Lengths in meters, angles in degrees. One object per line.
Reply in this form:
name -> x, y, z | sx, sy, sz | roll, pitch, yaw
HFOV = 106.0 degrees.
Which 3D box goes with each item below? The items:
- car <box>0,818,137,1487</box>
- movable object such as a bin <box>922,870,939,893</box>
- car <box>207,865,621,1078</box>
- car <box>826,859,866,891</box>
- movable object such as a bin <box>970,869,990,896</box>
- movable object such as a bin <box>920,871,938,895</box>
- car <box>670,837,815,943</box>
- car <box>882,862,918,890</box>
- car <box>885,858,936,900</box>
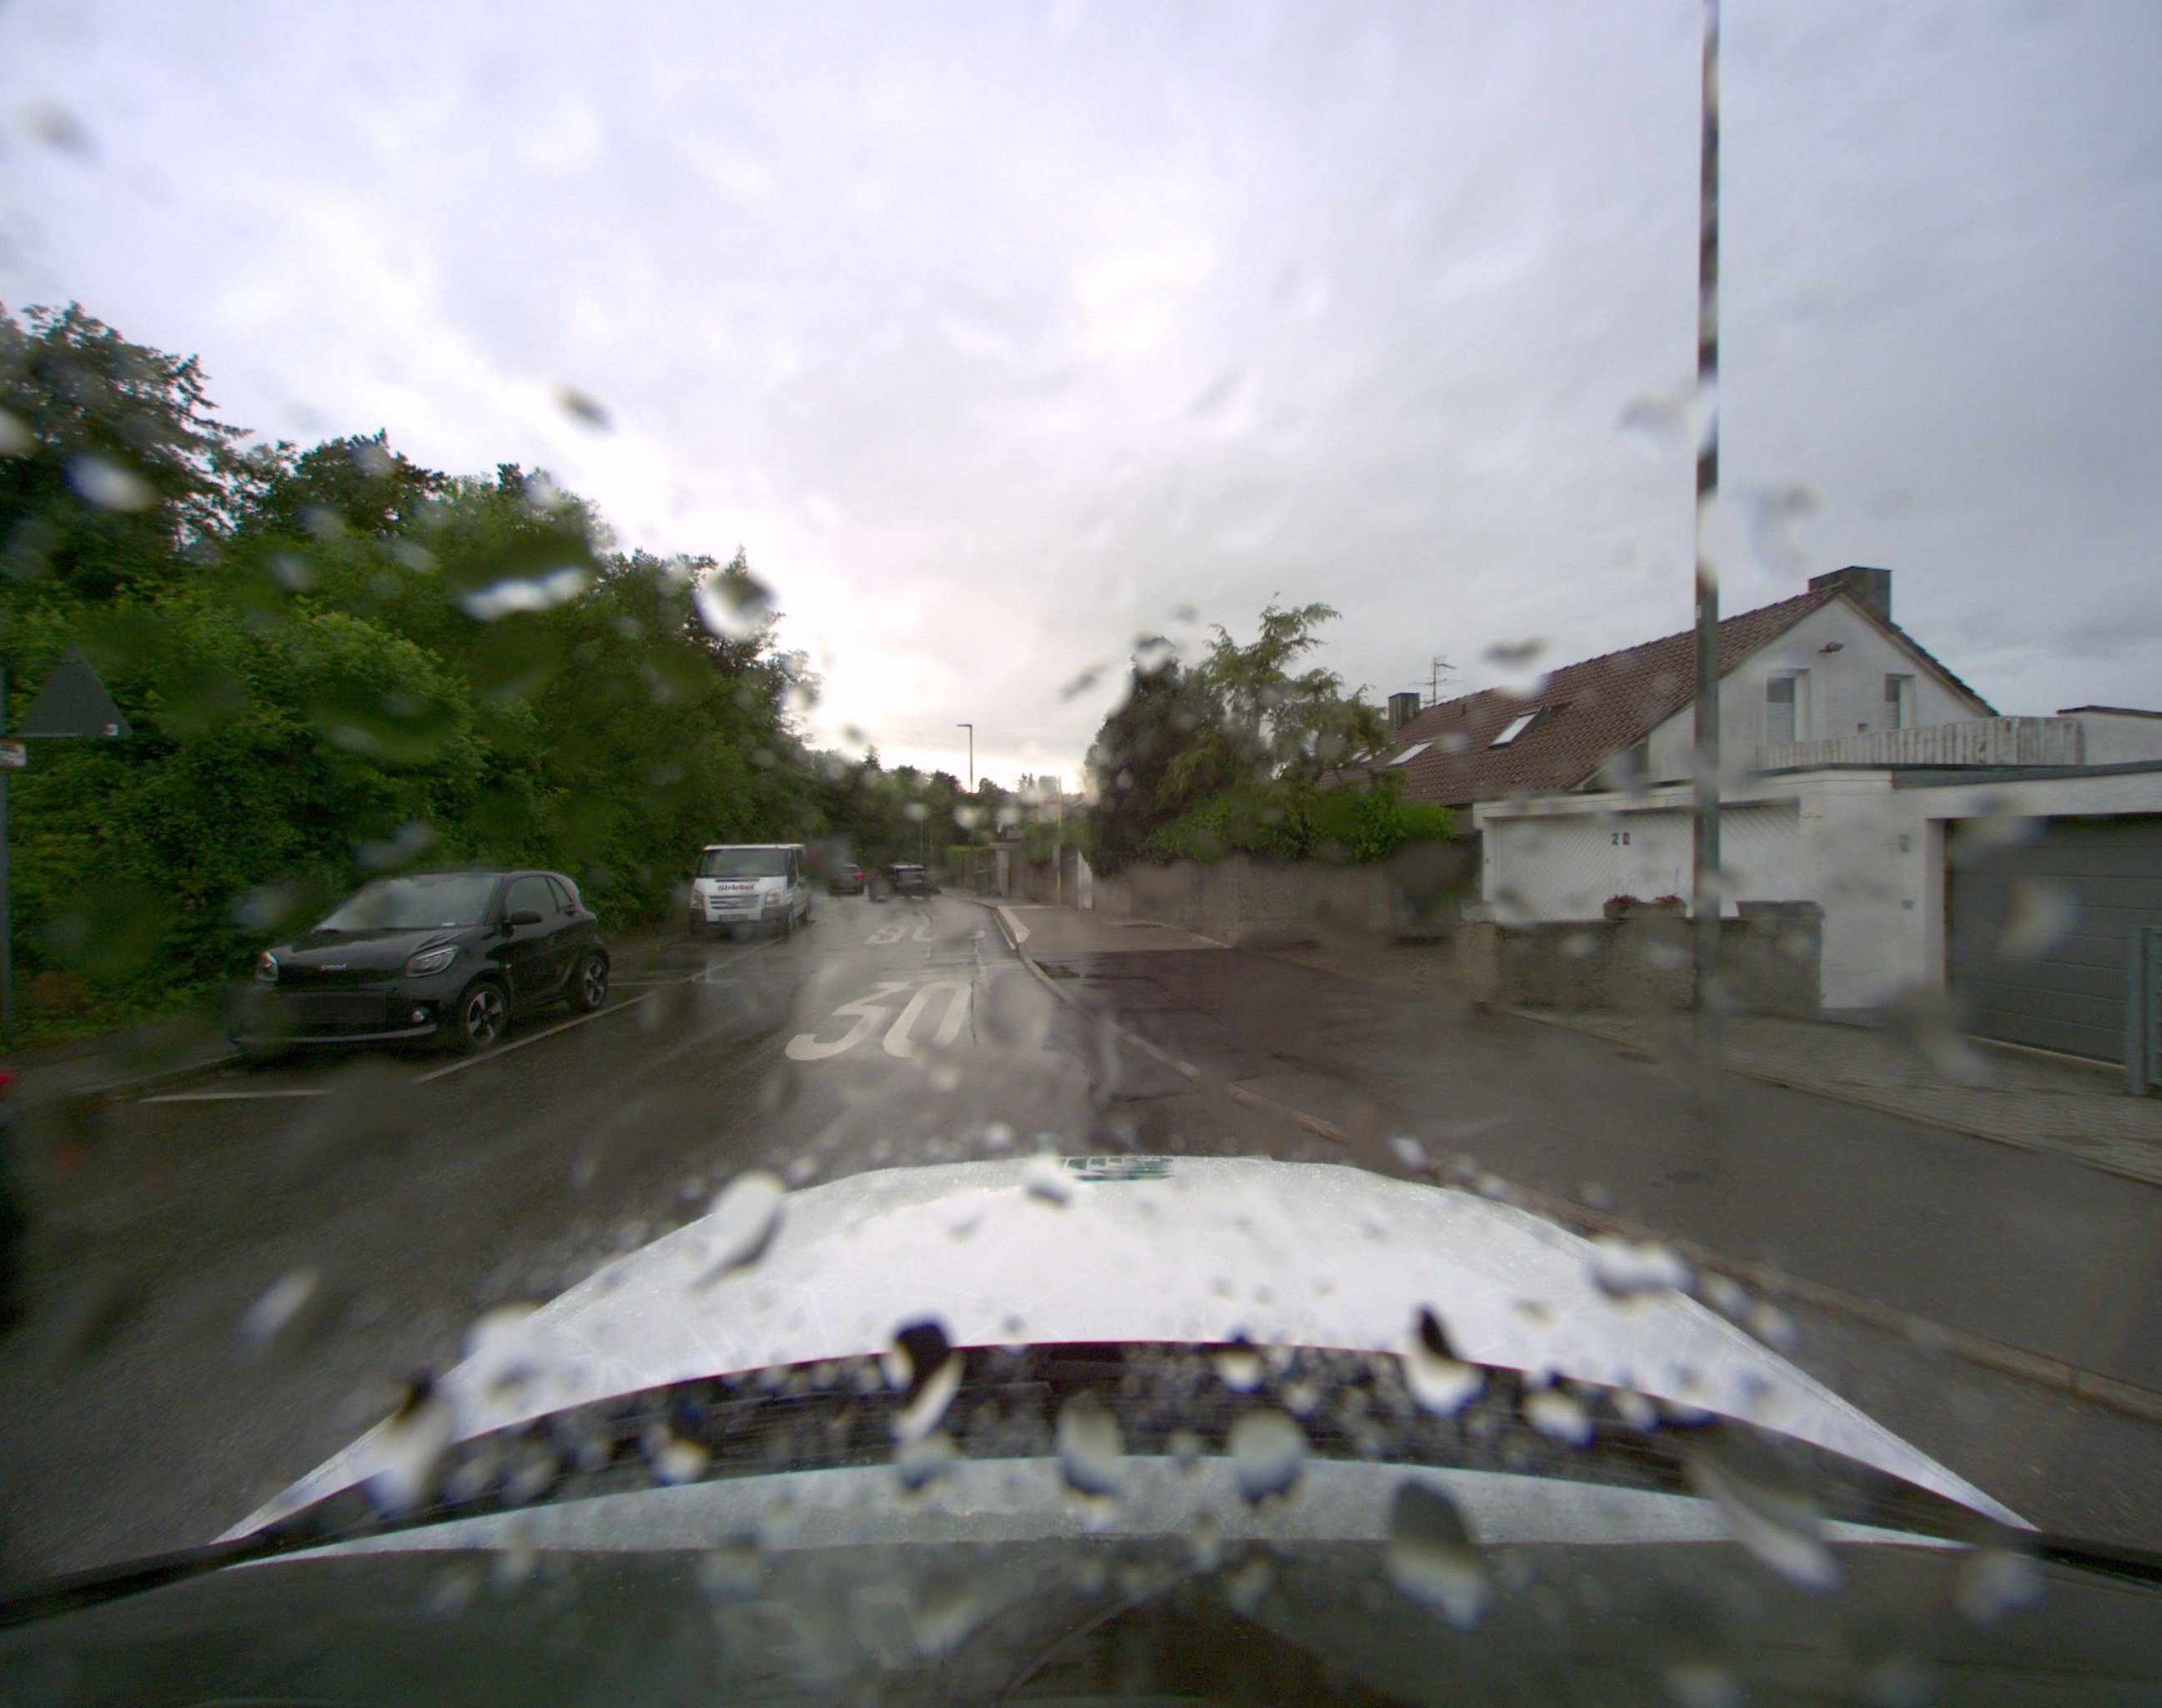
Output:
car -> -3.704, 0.728, 0.110 | 1.921, 1.605, 4.348 | -1, 0, 4
movable object such as a bin -> -7.363, 1.328, 39.756 | 0.731, 1.078, 0.657 | 0, -1, -18
car -> -5.781, 0.882, 7.544 | 1.600, 1.511, 2.935 | -1, 0, -7
car -> -12.628, 1.096, 43.737 | 1.998, 1.605, 4.384 | 0, 0, -17
movable object such as a bin -> -4.298, 1.207, 34.682 | 0.740, 1.088, 0.597 | -3, 0, -14
movable object such as a bin -> -7.205, 1.353, 38.611 | 0.718, 1.095, 0.652 | 0, -1, -21
car -> -7.334, 0.708, 18.247 | 2.114, 1.974, 5.150 | -1, 0, -13
car -> -11.336, 1.341, 50.809 | 1.879, 1.592, 4.454 | -1, 0, -16
car -> -7.068, 1.095, 33.553 | 1.871, 1.513, 4.071 | 1, -5, -14
